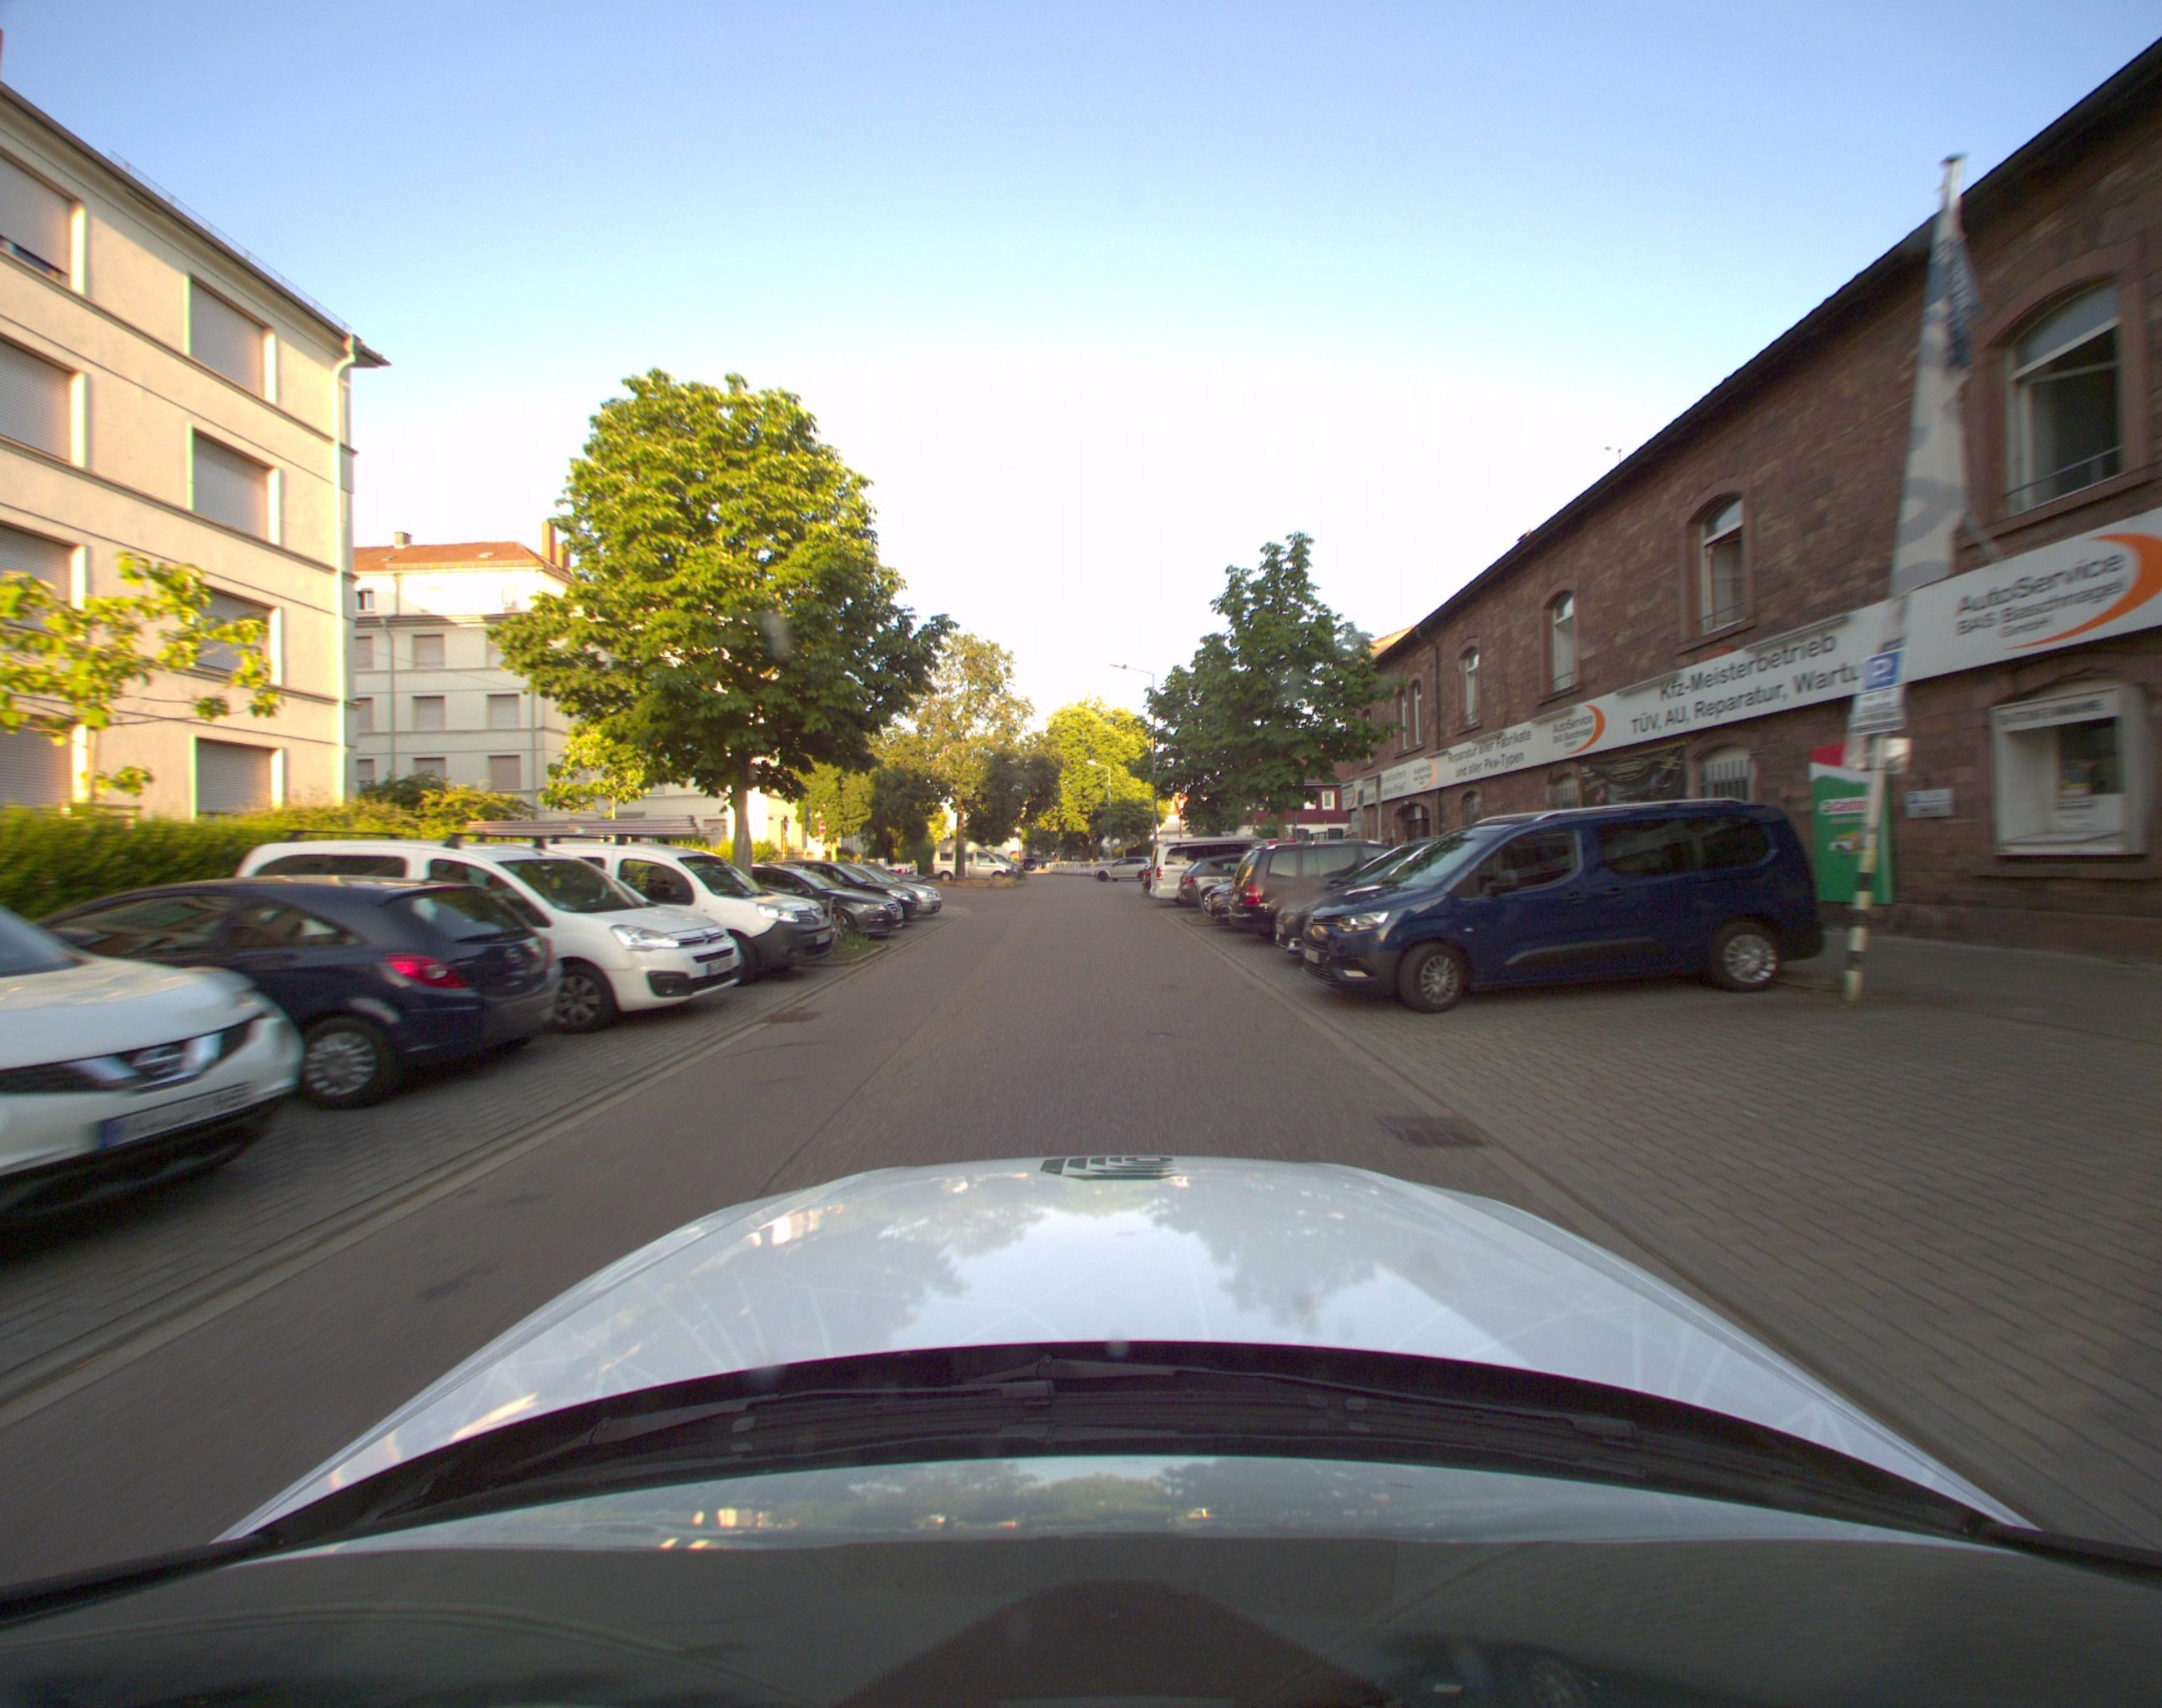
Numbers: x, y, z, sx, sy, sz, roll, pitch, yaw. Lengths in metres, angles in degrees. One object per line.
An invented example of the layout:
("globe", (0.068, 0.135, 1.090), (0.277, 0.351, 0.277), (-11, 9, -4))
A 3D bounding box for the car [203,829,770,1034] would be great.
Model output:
("car", (-5.793, 0.692, 8.358), (4.403, 1.802, 1.945), (1, 0, 3))

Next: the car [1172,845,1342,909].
("car", (4.423, 0.572, 20.902), (3.974, 1.510, 1.776), (-1, -1, 0))

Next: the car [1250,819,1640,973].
("car", (4.766, 0.515, 11.168), (4.401, 1.575, 1.981), (-5, 0, -1))

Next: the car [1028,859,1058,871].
("car", (-5.528, 1.653, 117.811), (4.000, 1.651, 1.753), (-1, -1, -20))

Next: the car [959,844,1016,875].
("car", (-7.592, 0.472, 66.420), (4.498, 2.431, 1.995), (-1, -1, -7))

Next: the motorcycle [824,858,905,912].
("motorcycle", (-6.561, 0.929, 24.765), (2.221, 1.582, 0.774), (-1, -1, 3))

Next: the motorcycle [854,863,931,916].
("motorcycle", (-5.256, 0.978, 22.741), (1.982, 1.436, 0.720), (-1, -1, -5))

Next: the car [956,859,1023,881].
("car", (-5.971, 1.047, 53.526), (4.232, 1.394, 1.683), (0, -1, -2))

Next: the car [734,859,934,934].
("car", (-5.542, 0.939, 18.573), (3.971, 1.583, 1.729), (-1, -1, 2))

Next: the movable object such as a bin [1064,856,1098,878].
("movable object such as a bin", (-0.090, 1.461, 91.634), (2.632, 2.403, 5.172), (-1, -1, -14))

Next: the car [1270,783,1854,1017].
("car", (4.623, 0.408, 8.418), (4.771, 1.754, 2.017), (-5, 0, -1))

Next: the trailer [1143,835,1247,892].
("trailer", (4.576, 0.381, 33.169), (3.974, 2.187, 2.000), (-1, -1, 0))

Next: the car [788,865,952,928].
("car", (-5.343, 1.058, 20.903), (3.699, 1.506, 1.691), (-1, -1, 2))

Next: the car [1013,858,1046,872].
("car", (-7.681, 1.690, 121.855), (4.568, 2.023, 2.088), (-1, -1, -18))

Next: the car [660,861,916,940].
("car", (-5.634, 0.863, 16.035), (4.309, 1.405, 1.852), (1, -1, 2))

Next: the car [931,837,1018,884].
("car", (-6.126, 0.383, 47.256), (4.715, 2.569, 2.000), (-1, -1, 0))

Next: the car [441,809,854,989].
("car", (-5.660, 0.528, 11.047), (4.492, 2.070, 2.002), (2, 0, 4))

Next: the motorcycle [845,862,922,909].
("motorcycle", (-6.305, 1.003, 26.049), (2.221, 1.436, 0.774), (-1, -1, 3))

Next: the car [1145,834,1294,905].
("car", (3.957, 0.443, 23.756), (3.975, 1.904, 1.999), (-1, -1, -1))

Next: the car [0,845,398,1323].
("car", (-5.756, 0.762, 3.417), (4.228, 1.621, 1.813), (0, 0, 1))

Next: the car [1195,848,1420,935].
("car", (4.407, 0.707, 16.227), (3.937, 1.565, 1.818), (-1, -1, -4))

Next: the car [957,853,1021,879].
("car", (-6.909, 0.878, 61.323), (4.669, 1.874, 1.995), (-1, -1, -8))

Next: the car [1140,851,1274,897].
("car", (4.336, 0.699, 28.564), (4.413, 1.499, 1.773), (-1, -1, 0))

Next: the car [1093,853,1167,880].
("car", (2.878, 0.752, 47.787), (3.951, 1.488, 1.823), (-2, 0, 24))

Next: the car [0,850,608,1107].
("car", (-6.050, 0.788, 6.026), (3.974, 1.484, 1.755), (2, 0, -1))

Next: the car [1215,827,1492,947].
("car", (4.458, 0.531, 13.799), (3.975, 1.618, 1.894), (-4, -1, -1))

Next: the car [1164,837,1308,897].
("car", (4.913, 0.408, 26.260), (4.287, 1.799, 1.904), (-1, -1, 0))
